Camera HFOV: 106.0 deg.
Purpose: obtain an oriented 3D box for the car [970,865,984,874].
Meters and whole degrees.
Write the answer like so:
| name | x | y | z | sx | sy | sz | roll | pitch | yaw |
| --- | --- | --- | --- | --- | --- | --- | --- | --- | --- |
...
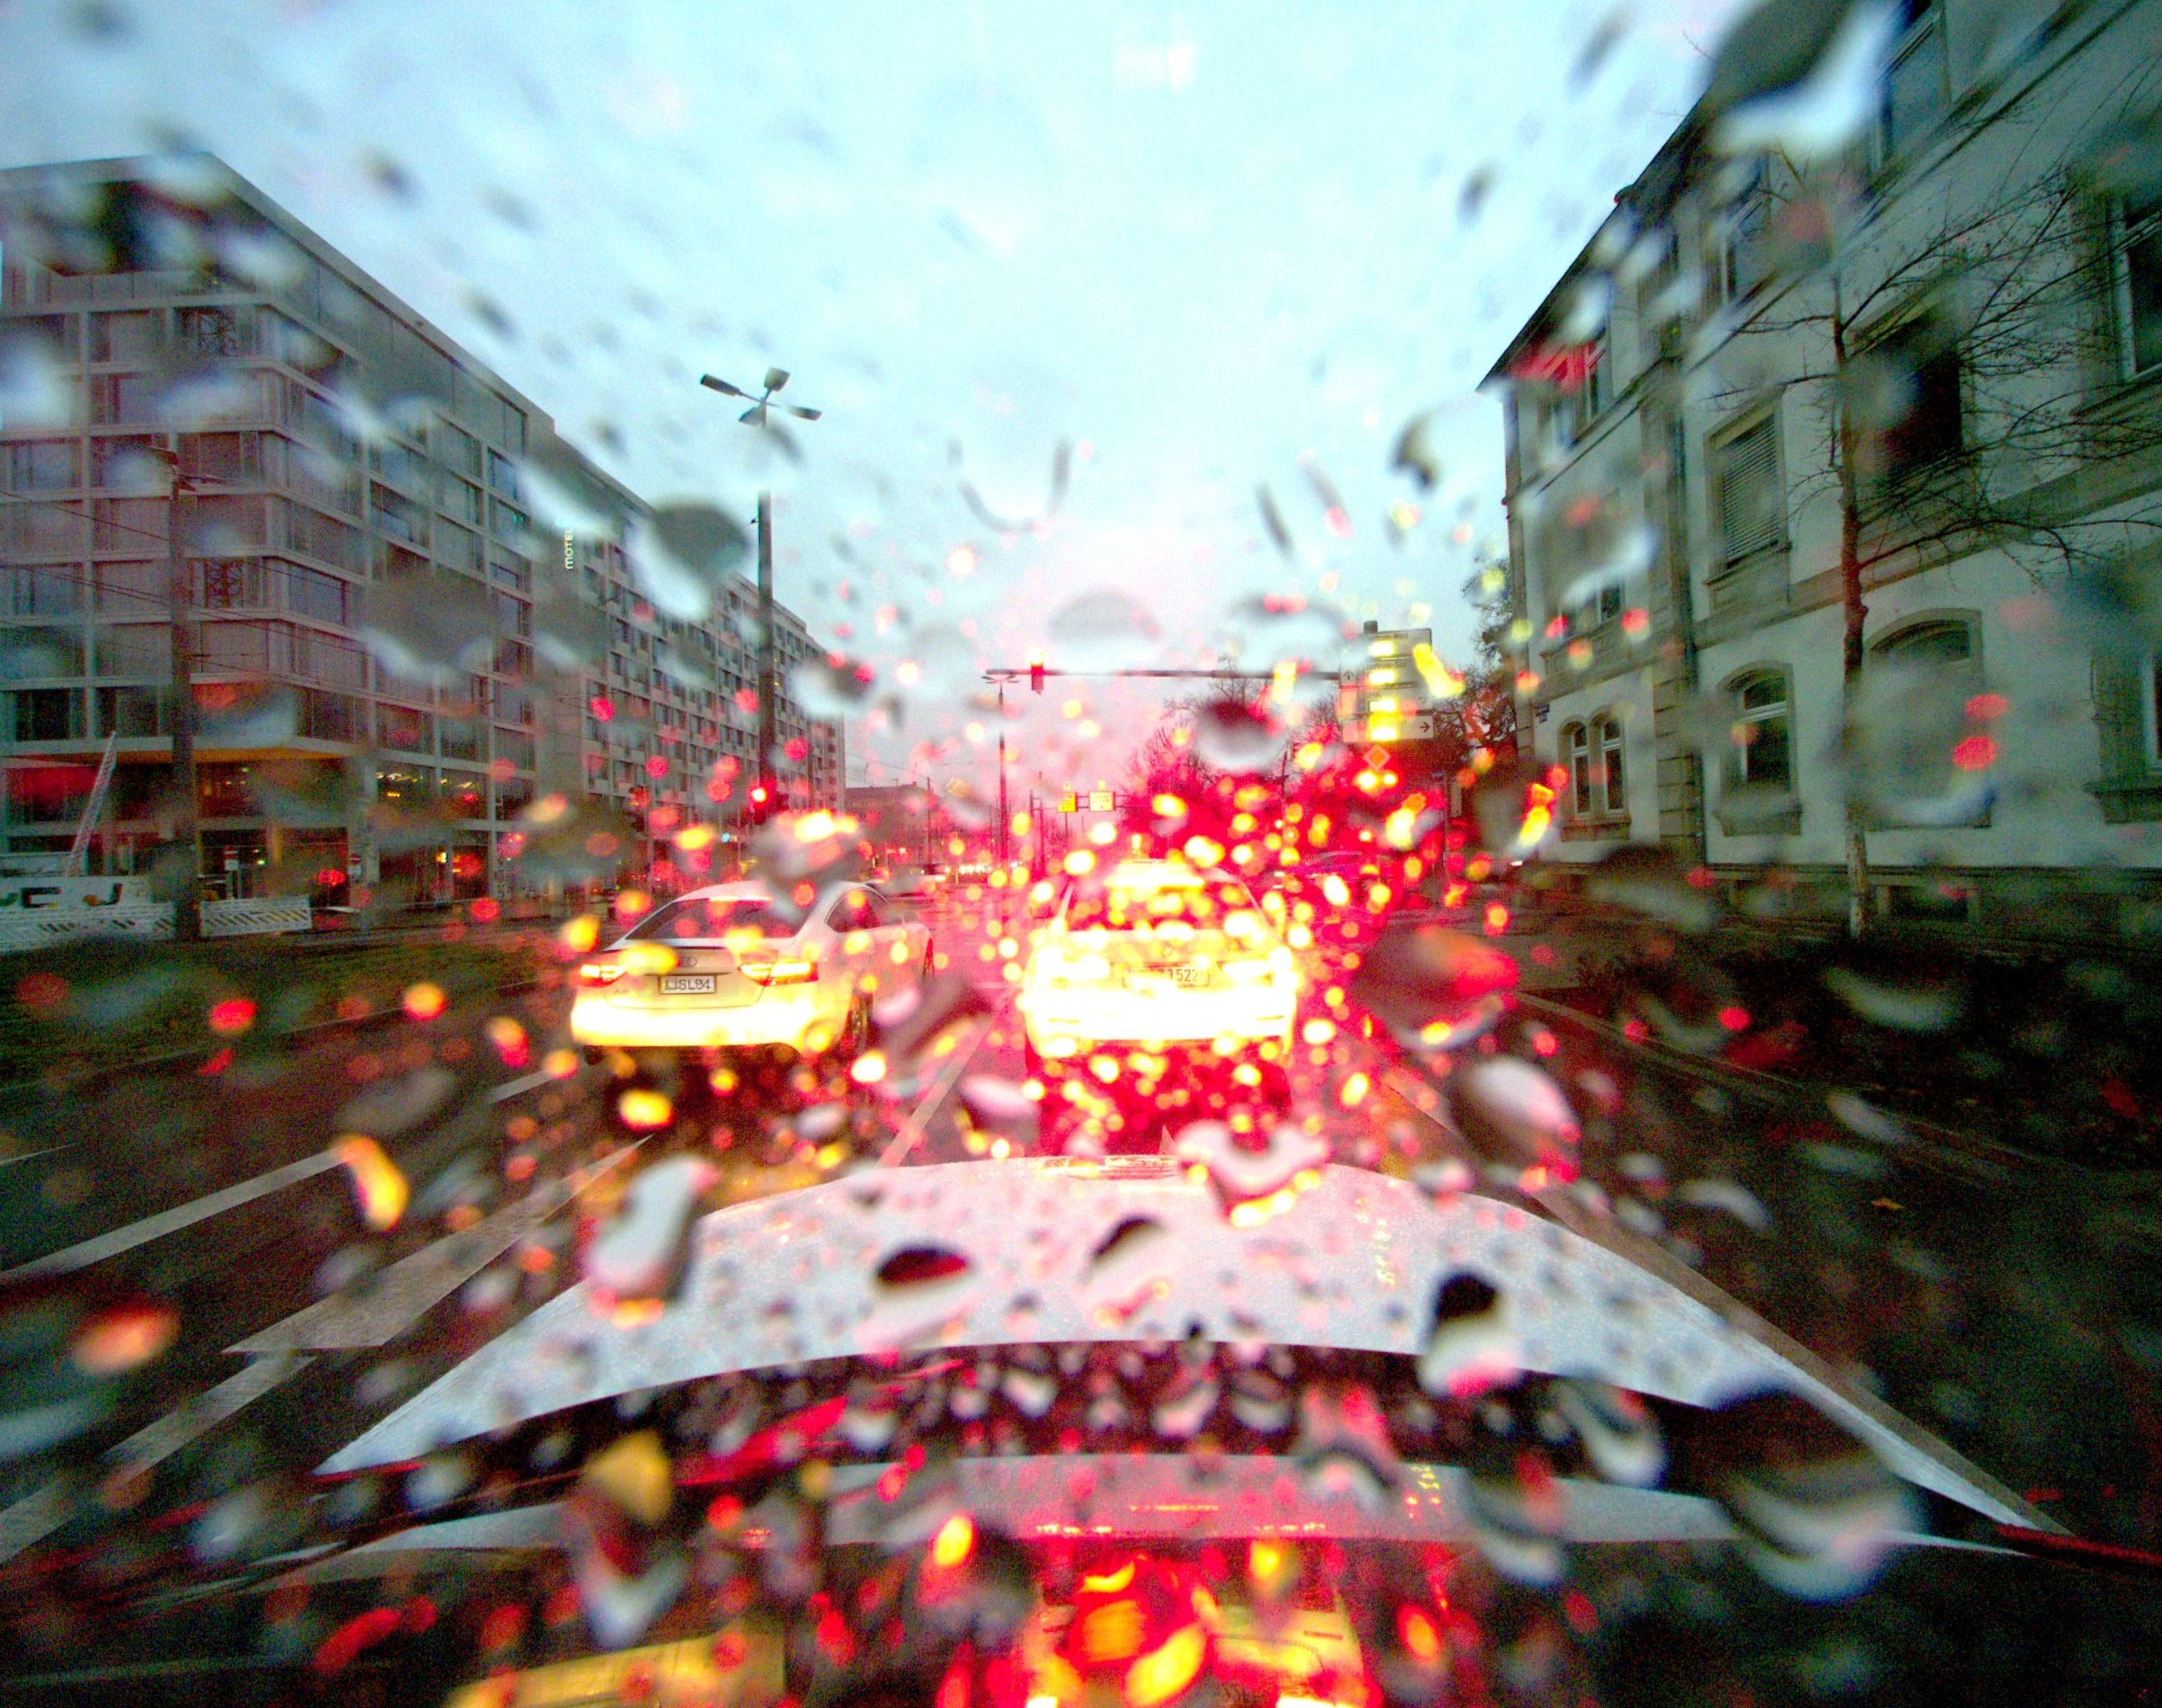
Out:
| name | x | y | z | sx | sy | sz | roll | pitch | yaw |
| --- | --- | --- | --- | --- | --- | --- | --- | --- | --- |
| car | -17.295 | 2.613 | 135.689 | 1.669 | 1.508 | 3.697 | 0 | -1 | 1 |

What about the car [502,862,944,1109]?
| name | x | y | z | sx | sy | sz | roll | pitch | yaw |
| --- | --- | --- | --- | --- | --- | --- | --- | --- | --- |
| car | -2.591 | 0.839 | 7.252 | 1.987 | 1.456 | 4.367 | -1 | 0 | 0 |

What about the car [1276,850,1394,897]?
| name | x | y | z | sx | sy | sz | roll | pitch | yaw |
| --- | --- | --- | --- | --- | --- | --- | --- | --- | --- |
| car | 9.106 | 0.698 | 29.492 | 3.958 | 1.622 | 1.726 | 0 | -1 | 14 |

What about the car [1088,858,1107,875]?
| name | x | y | z | sx | sy | sz | roll | pitch | yaw |
| --- | --- | --- | --- | --- | --- | --- | --- | --- | --- |
| car | 1.594 | 1.243 | 78.411 | 1.836 | 1.609 | 3.945 | 0 | -1 | 1 |

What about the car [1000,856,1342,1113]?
| name | x | y | z | sx | sy | sz | roll | pitch | yaw |
| --- | --- | --- | --- | --- | --- | --- | --- | --- | --- |
| car | 0.531 | 0.770 | 6.959 | 1.987 | 1.456 | 4.367 | -1 | 0 | 0 |

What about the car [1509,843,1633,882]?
| name | x | y | z | sx | sy | sz | roll | pitch | yaw |
| --- | --- | --- | --- | --- | --- | --- | --- | --- | --- |
| car | 18.754 | 0.335 | 31.376 | 3.950 | 1.402 | 1.768 | 0 | -1 | 26 |

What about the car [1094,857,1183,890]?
| name | x | y | z | sx | sy | sz | roll | pitch | yaw |
| --- | --- | --- | --- | --- | --- | --- | --- | --- | --- |
| car | 2.790 | 0.938 | 39.391 | 3.917 | 1.554 | 1.760 | -1 | -1 | 31 |

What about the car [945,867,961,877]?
| name | x | y | z | sx | sy | sz | roll | pitch | yaw |
| --- | --- | --- | --- | --- | --- | --- | --- | --- | --- |
| car | -19.064 | 2.625 | 121.479 | 1.669 | 1.508 | 3.697 | 0 | -1 | 1 |

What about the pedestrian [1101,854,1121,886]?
| name | x | y | z | sx | sy | sz | roll | pitch | yaw |
| --- | --- | --- | --- | --- | --- | --- | --- | --- | --- |
| pedestrian | 1.719 | 0.916 | 46.812 | 0.895 | 1.856 | 0.817 | 0 | -1 | 23 |

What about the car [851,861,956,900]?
| name | x | y | z | sx | sy | sz | roll | pitch | yaw |
| --- | --- | --- | --- | --- | --- | --- | --- | --- | --- |
| car | -6.894 | 1.025 | 31.815 | 3.671 | 1.478 | 1.630 | 0 | -1 | 4 |

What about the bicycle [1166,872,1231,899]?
| name | x | y | z | sx | sy | sz | roll | pitch | yaw |
| --- | --- | --- | --- | --- | --- | --- | --- | --- | --- |
| bicycle | 4.995 | 1.330 | 34.583 | 2.647 | 1.089 | 0.818 | 0 | -1 | 14 |

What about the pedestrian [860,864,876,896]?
| name | x | y | z | sx | sy | sz | roll | pitch | yaw |
| --- | --- | --- | --- | --- | --- | --- | --- | --- | --- |
| pedestrian | -11.713 | 1.426 | 44.805 | 0.791 | 1.712 | 0.809 | 0 | -1 | -13 |

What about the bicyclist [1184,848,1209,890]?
| name | x | y | z | sx | sy | sz | roll | pitch | yaw |
| --- | --- | --- | --- | --- | --- | --- | --- | --- | --- |
| bicyclist | 4.920 | 0.619 | 34.629 | 0.965 | 1.759 | 0.816 | 0 | -1 | 15 |
